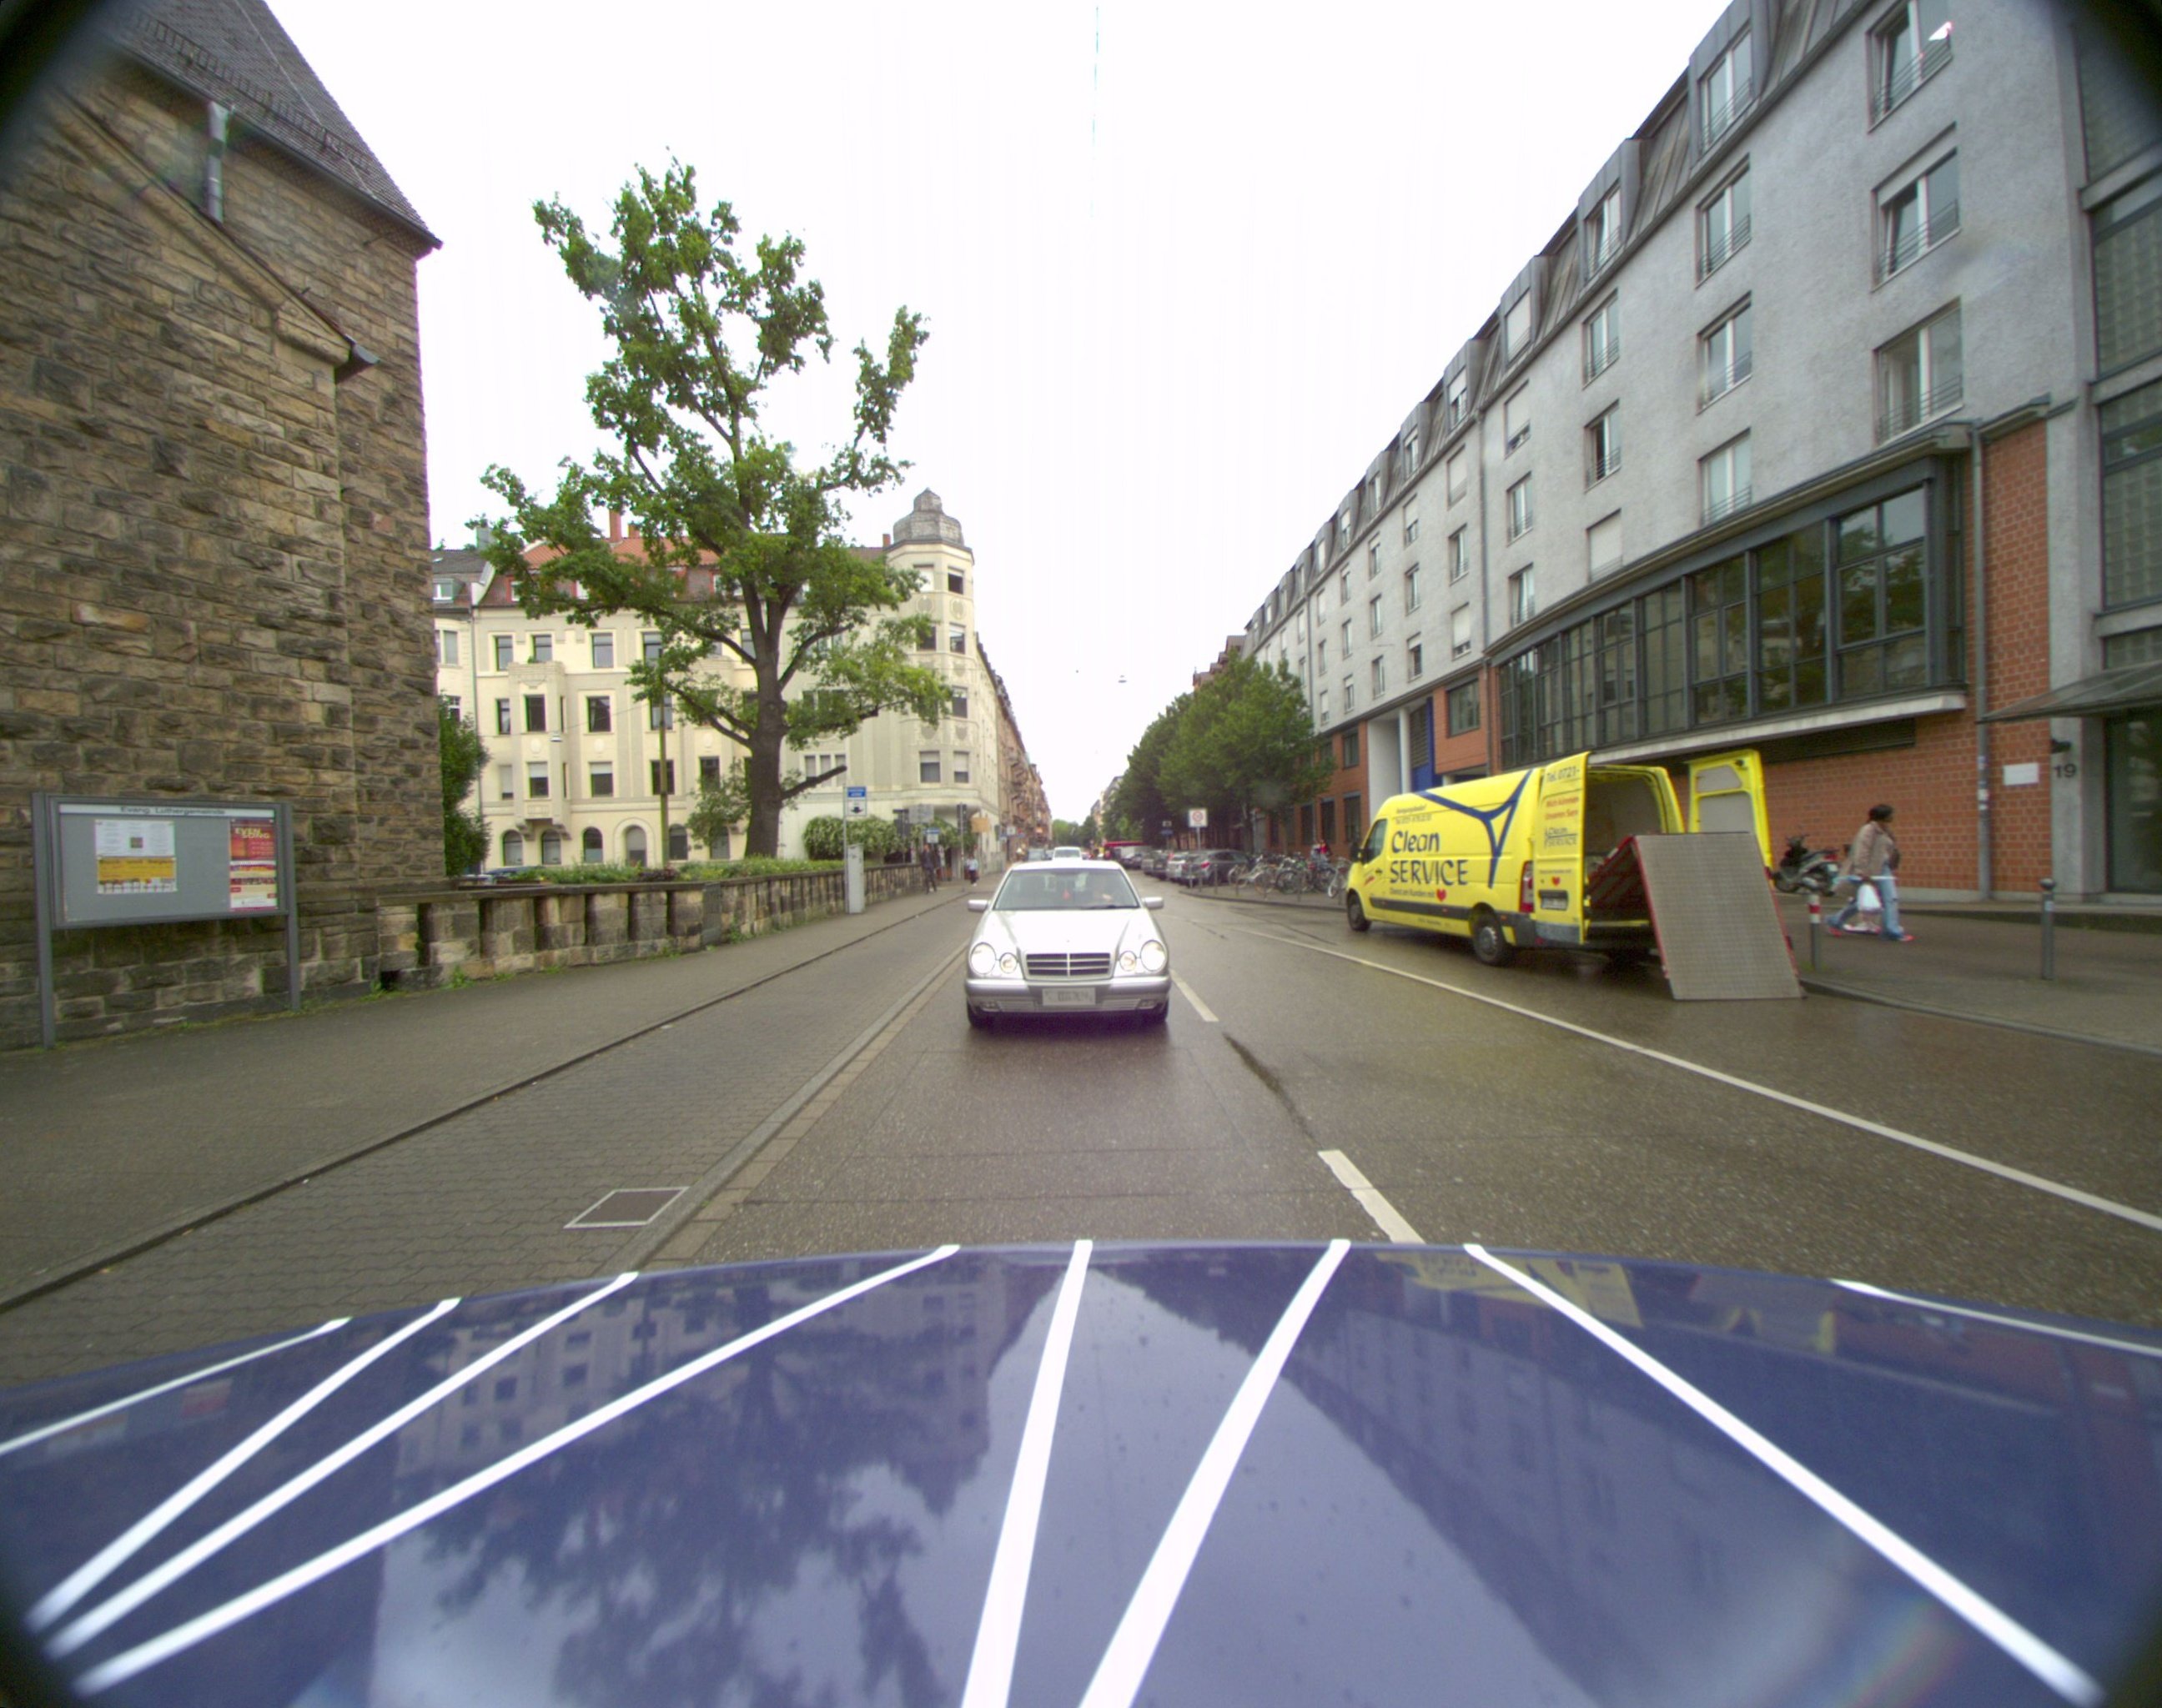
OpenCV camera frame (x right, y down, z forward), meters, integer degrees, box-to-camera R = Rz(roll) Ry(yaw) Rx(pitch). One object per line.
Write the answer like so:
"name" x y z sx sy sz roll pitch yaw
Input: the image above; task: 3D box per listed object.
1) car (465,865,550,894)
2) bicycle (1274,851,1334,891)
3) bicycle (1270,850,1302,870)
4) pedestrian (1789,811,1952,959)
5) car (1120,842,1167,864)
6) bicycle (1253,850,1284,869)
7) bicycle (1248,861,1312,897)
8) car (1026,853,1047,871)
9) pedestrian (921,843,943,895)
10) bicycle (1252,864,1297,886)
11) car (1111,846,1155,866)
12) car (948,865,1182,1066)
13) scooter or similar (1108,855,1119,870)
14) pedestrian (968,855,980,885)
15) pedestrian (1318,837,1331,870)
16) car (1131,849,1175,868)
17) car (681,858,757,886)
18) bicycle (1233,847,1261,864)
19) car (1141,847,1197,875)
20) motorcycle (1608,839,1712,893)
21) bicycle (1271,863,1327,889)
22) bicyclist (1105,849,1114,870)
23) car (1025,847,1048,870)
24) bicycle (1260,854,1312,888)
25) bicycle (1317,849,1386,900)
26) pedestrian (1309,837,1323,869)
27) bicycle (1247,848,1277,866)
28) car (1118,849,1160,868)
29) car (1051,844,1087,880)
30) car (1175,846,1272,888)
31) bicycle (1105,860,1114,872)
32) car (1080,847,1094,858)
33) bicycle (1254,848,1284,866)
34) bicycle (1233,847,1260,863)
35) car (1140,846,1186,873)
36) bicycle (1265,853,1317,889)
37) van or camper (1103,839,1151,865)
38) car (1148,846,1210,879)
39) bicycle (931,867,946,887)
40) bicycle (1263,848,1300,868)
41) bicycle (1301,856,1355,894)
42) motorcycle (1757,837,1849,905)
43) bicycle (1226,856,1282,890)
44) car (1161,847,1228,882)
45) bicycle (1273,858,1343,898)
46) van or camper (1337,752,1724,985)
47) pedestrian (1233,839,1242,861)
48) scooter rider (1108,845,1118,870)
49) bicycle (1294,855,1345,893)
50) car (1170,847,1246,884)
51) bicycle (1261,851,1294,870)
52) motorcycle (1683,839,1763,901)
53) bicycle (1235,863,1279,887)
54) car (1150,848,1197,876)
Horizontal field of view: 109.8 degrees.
"car" -29.491 1.288 39.125 3.270 1.401 1.448 -1 1 2
"bicycle" 7.192 0.534 24.508 1.815 1.187 0.519 -3 1 -13
"bicycle" 10.978 0.317 40.624 1.590 0.979 0.445 -2 1 -8
"pedestrian" 9.919 0.369 9.608 0.787 1.718 1.172 -3 1 -2
"car" 5.750 -0.102 69.107 4.338 1.884 1.685 -1 1 -41
"bicycle" 10.341 0.298 41.993 1.590 0.979 0.445 -2 1 -8
"bicycle" 6.072 0.744 23.206 1.800 0.987 0.520 -3 1 -3
"car" -3.403 0.587 58.409 1.447 1.348 3.203 -1 0 -1
"pedestrian" -5.479 0.533 27.878 0.646 1.862 0.693 -1 1 -1
"bicycle" 6.966 0.751 27.344 1.473 0.717 0.497 -3 1 2
"car" 4.950 0.131 72.619 4.338 1.822 1.571 -1 1 -41
"car" -0.129 0.886 7.850 1.764 1.420 3.999 -2 1 0
"scooter or similar" 2.517 0.667 58.832 0.702 1.158 1.385 -1 1 -2
"pedestrian" -5.239 0.765 37.198 0.482 1.452 0.392 -1 1 -1
"pedestrian" 11.920 -0.036 37.208 0.513 1.601 0.426 -1 1 27
"car" 5.927 0.340 62.365 1.685 1.482 3.799 0 1 40
"car" -18.903 0.930 39.783 3.270 1.401 1.448 -1 1 2
"bicycle" 10.066 0.115 46.050 1.590 0.979 0.465 -2 1 -8
"car" 5.222 0.401 45.169 2.985 1.546 1.369 -3 1 -29
"motorcycle" 13.397 0.253 17.672 0.651 1.150 2.204 -3 1 -2
"bicycle" 7.202 0.724 25.098 1.773 0.757 0.456 -3 1 -13
"bicyclist" 2.073 0.389 55.564 0.536 1.521 1.134 -1 1 -2
"car" -3.727 0.345 63.424 1.726 1.794 3.461 -1 1 -1
"bicycle" 7.107 0.590 26.399 1.610 1.099 0.520 -3 1 -5
"bicycle" 7.492 0.539 20.992 1.922 1.209 0.768 -6 4 -35
"pedestrian" 11.727 -0.063 37.944 0.604 1.601 0.373 -1 1 25
"bicycle" 10.427 0.150 43.777 1.590 0.979 0.465 -2 1 -8
"car" 4.979 0.364 64.876 1.685 1.482 3.799 0 1 40
"car" -0.651 0.431 45.123 1.998 2.002 4.000 -1 1 1
"car" 5.830 0.502 31.012 3.629 1.494 1.736 -3 2 -32
"bicycle" 2.086 0.864 55.706 0.536 0.879 1.780 -1 1 -2
"car" 0.768 -0.200 100.415 1.651 1.301 3.311 -1 0 -3
"bicycle" 10.549 0.170 42.613 1.590 0.979 0.445 -2 1 -8
"bicycle" 10.494 0.065 48.081 1.590 0.979 0.465 -2 1 -8
"car" 5.182 0.328 47.925 2.685 1.546 1.148 -3 1 -29
"bicycle" 7.105 0.565 25.708 1.611 1.099 0.519 -3 1 -13
"van or camper" 4.750 -0.225 78.595 4.604 2.597 1.999 -1 1 -27
"car" 5.123 0.438 39.428 3.084 1.543 1.449 -3 1 -41
"bicycle" -7.432 1.161 39.577 0.390 0.888 2.023 -1 3 0
"bicycle" 10.440 0.202 39.596 1.851 0.979 0.445 -2 1 -8
"bicycle" 7.431 0.633 22.878 1.462 1.058 0.418 -3 1 3
"motorcycle" 13.271 0.282 14.024 0.524 1.174 1.760 -2 1 19
"bicycle" 6.123 0.659 26.917 1.812 1.099 0.472 -3 1 -5
"car" 5.494 0.487 36.546 3.084 1.494 1.449 -3 1 -41
"bicycle" 6.654 0.691 22.370 1.858 1.067 0.609 -3 1 5
"van or camper" 6.078 0.139 11.535 2.202 2.596 5.940 -1 0 -2
"pedestrian" 11.443 -0.297 55.594 0.571 1.588 0.533 -1 1 0
"scooter rider" 2.507 0.268 58.839 0.712 1.924 0.503 -1 1 -2
"bicycle" 7.414 0.612 23.653 1.461 1.096 0.462 -3 1 14
"car" 5.694 0.498 33.938 3.083 1.494 1.449 -3 1 -32
"bicycle" 10.356 0.337 40.078 1.590 0.979 0.445 -2 1 -8
"motorcycle" 13.039 0.286 15.495 0.524 1.174 2.006 -2 1 19
"bicycle" 6.481 0.759 27.970 1.473 0.800 0.497 -3 1 2
"car" 5.183 0.427 42.661 2.506 1.442 1.191 -3 1 -41
